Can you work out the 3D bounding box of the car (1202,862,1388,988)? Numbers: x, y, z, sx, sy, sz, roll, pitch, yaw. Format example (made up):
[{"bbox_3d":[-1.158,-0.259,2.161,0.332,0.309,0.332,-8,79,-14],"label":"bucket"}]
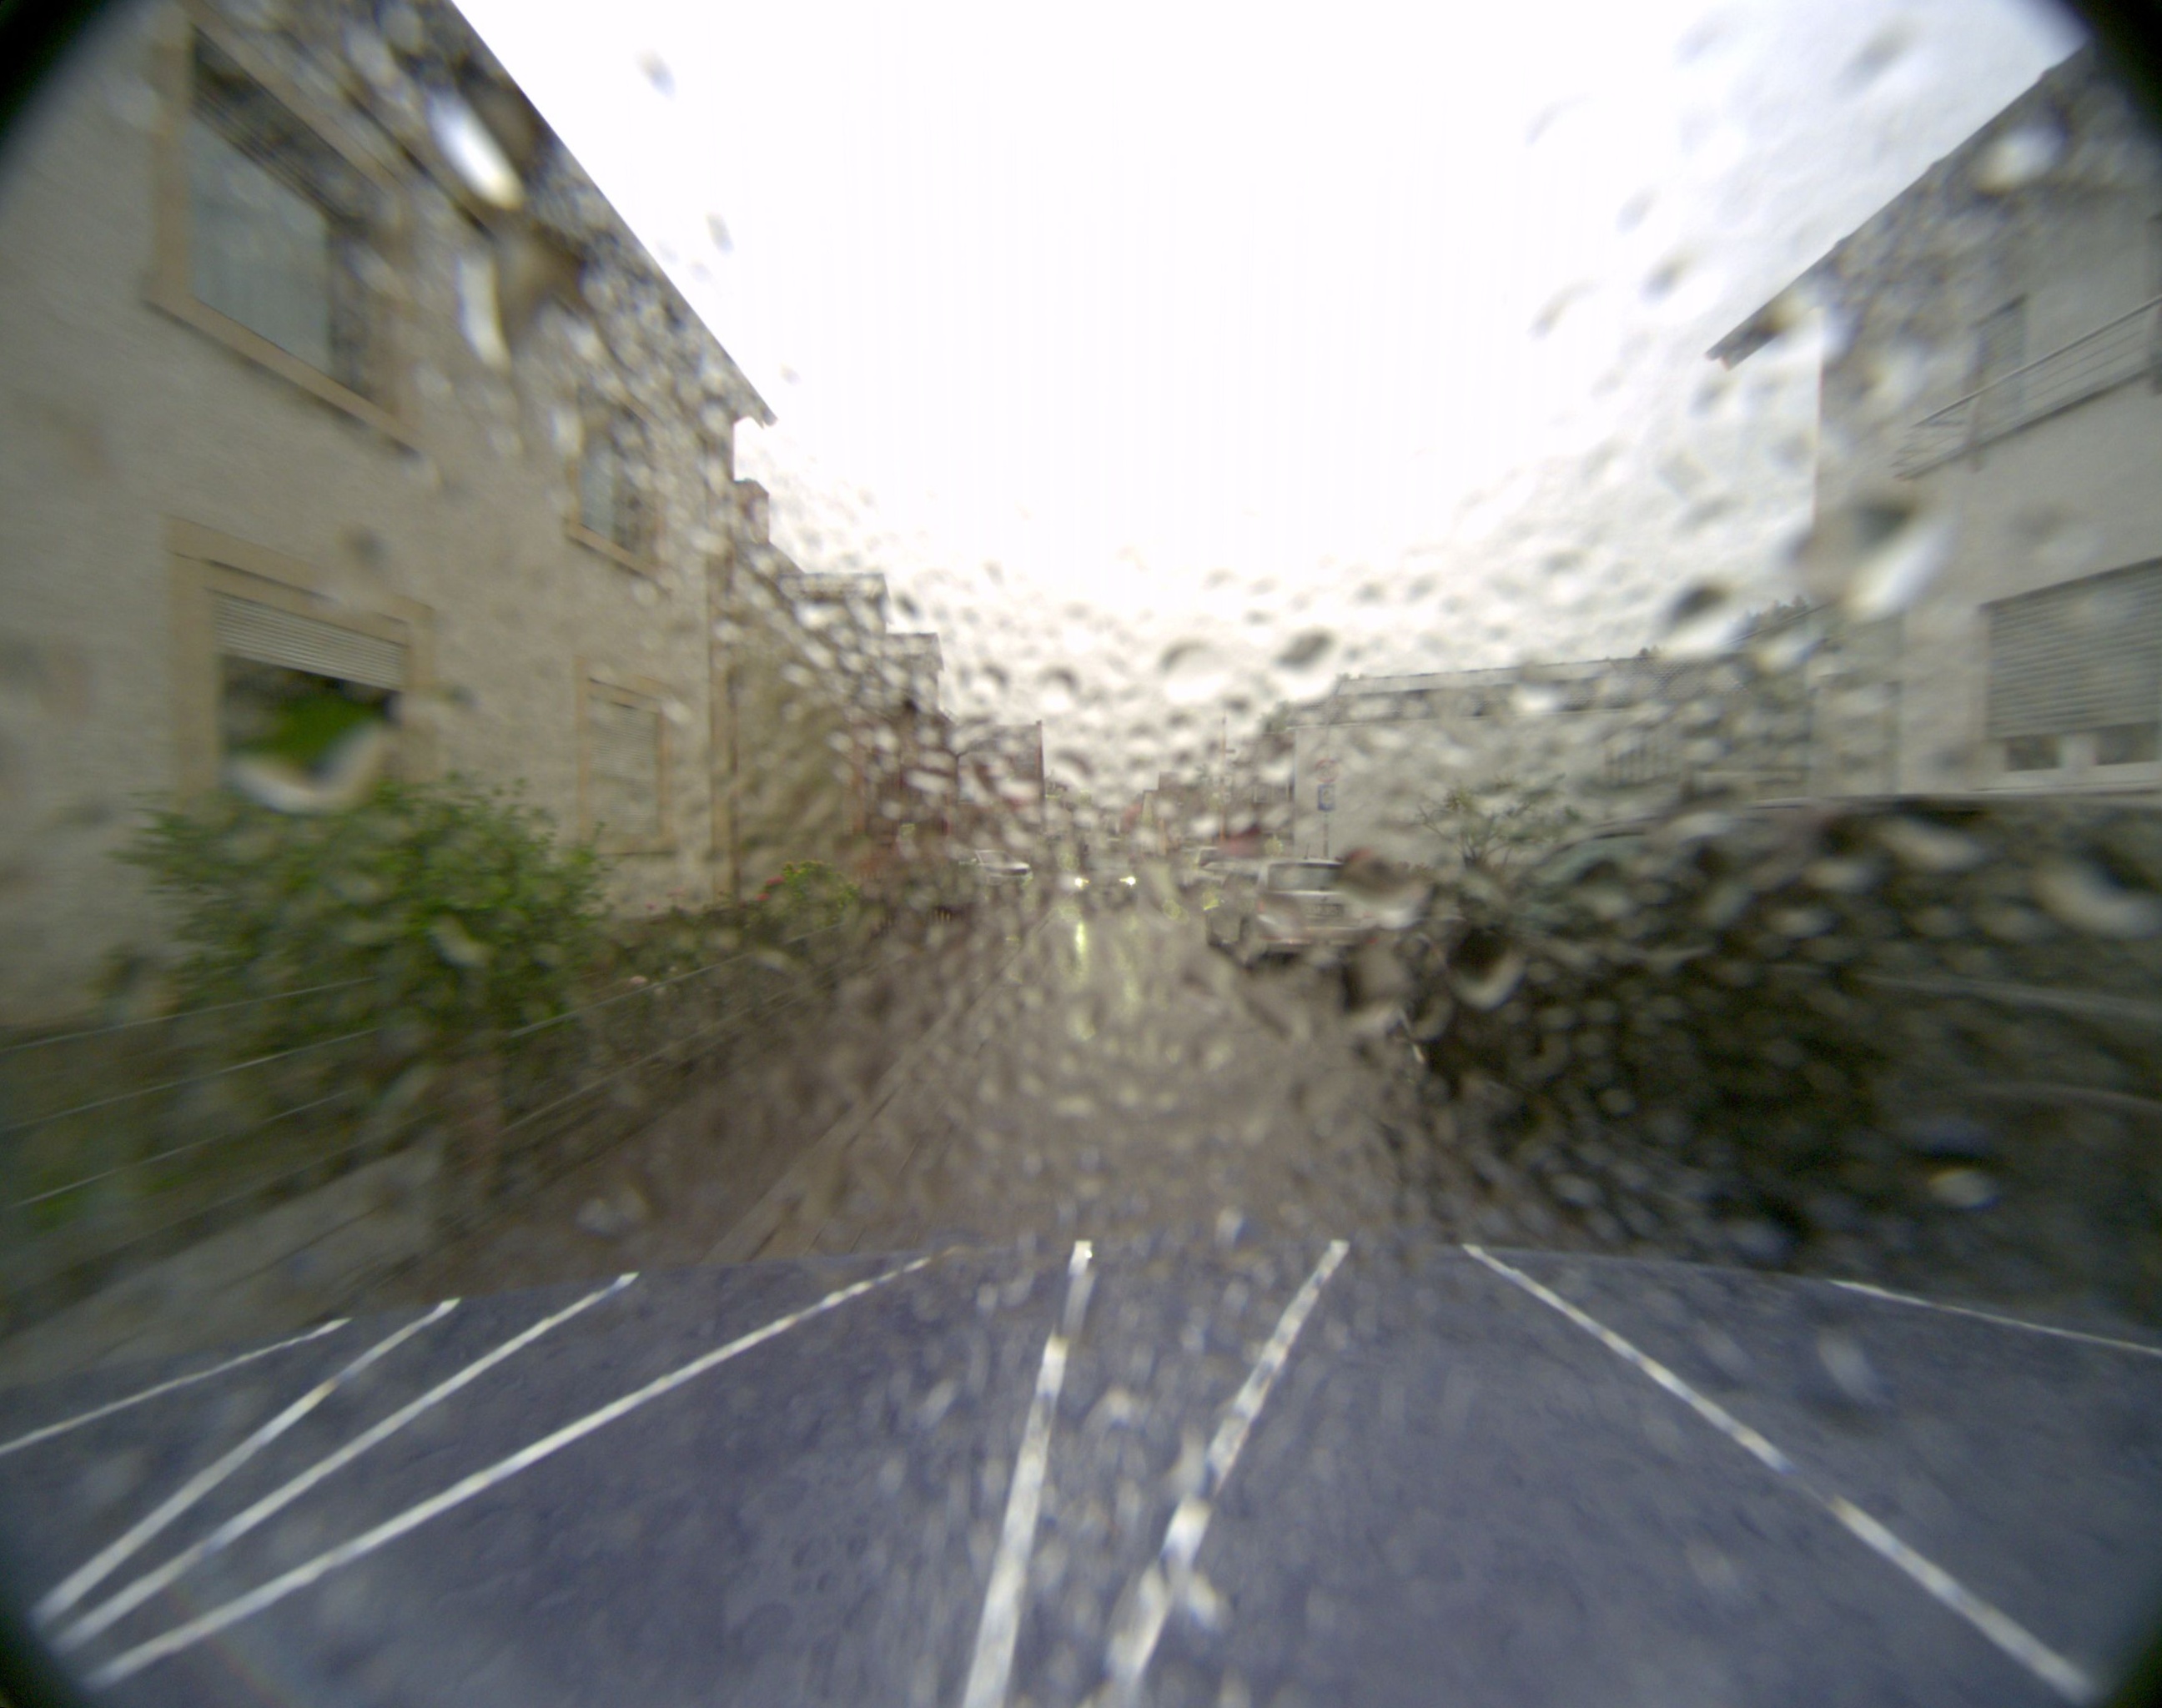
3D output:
[{"bbox_3d":[2.878,0.874,11.020,1.583,1.472,3.715,1,0,-1],"label":"car"}]

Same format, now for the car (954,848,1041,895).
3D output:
[{"bbox_3d":[-3.243,0.629,28.866,1.893,1.566,3.883,-4,1,-28],"label":"car"}]

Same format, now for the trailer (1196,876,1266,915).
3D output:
[{"bbox_3d":[3.932,1.073,20.287,1.504,0.811,3.006,0,1,5],"label":"trailer"}]

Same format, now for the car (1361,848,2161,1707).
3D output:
[{"bbox_3d":[2.845,0.843,2.551,1.839,1.663,5.196,0,1,-1],"label":"car"}]

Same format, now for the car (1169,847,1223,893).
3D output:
[{"bbox_3d":[4.408,0.571,29.618,1.675,1.607,4.184,0,1,3],"label":"car"}]

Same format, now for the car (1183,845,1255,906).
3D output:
[{"bbox_3d":[4.234,0.593,23.831,1.815,1.674,4.184,0,1,5],"label":"car"}]

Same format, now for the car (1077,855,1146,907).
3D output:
[{"bbox_3d":[0.821,0.732,22.280,1.667,1.290,3.517,-3,0,-2],"label":"car"}]

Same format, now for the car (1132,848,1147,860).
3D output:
[{"bbox_3d":[7.536,-0.041,98.643,1.860,1.497,4.162,0,1,3],"label":"car"}]
